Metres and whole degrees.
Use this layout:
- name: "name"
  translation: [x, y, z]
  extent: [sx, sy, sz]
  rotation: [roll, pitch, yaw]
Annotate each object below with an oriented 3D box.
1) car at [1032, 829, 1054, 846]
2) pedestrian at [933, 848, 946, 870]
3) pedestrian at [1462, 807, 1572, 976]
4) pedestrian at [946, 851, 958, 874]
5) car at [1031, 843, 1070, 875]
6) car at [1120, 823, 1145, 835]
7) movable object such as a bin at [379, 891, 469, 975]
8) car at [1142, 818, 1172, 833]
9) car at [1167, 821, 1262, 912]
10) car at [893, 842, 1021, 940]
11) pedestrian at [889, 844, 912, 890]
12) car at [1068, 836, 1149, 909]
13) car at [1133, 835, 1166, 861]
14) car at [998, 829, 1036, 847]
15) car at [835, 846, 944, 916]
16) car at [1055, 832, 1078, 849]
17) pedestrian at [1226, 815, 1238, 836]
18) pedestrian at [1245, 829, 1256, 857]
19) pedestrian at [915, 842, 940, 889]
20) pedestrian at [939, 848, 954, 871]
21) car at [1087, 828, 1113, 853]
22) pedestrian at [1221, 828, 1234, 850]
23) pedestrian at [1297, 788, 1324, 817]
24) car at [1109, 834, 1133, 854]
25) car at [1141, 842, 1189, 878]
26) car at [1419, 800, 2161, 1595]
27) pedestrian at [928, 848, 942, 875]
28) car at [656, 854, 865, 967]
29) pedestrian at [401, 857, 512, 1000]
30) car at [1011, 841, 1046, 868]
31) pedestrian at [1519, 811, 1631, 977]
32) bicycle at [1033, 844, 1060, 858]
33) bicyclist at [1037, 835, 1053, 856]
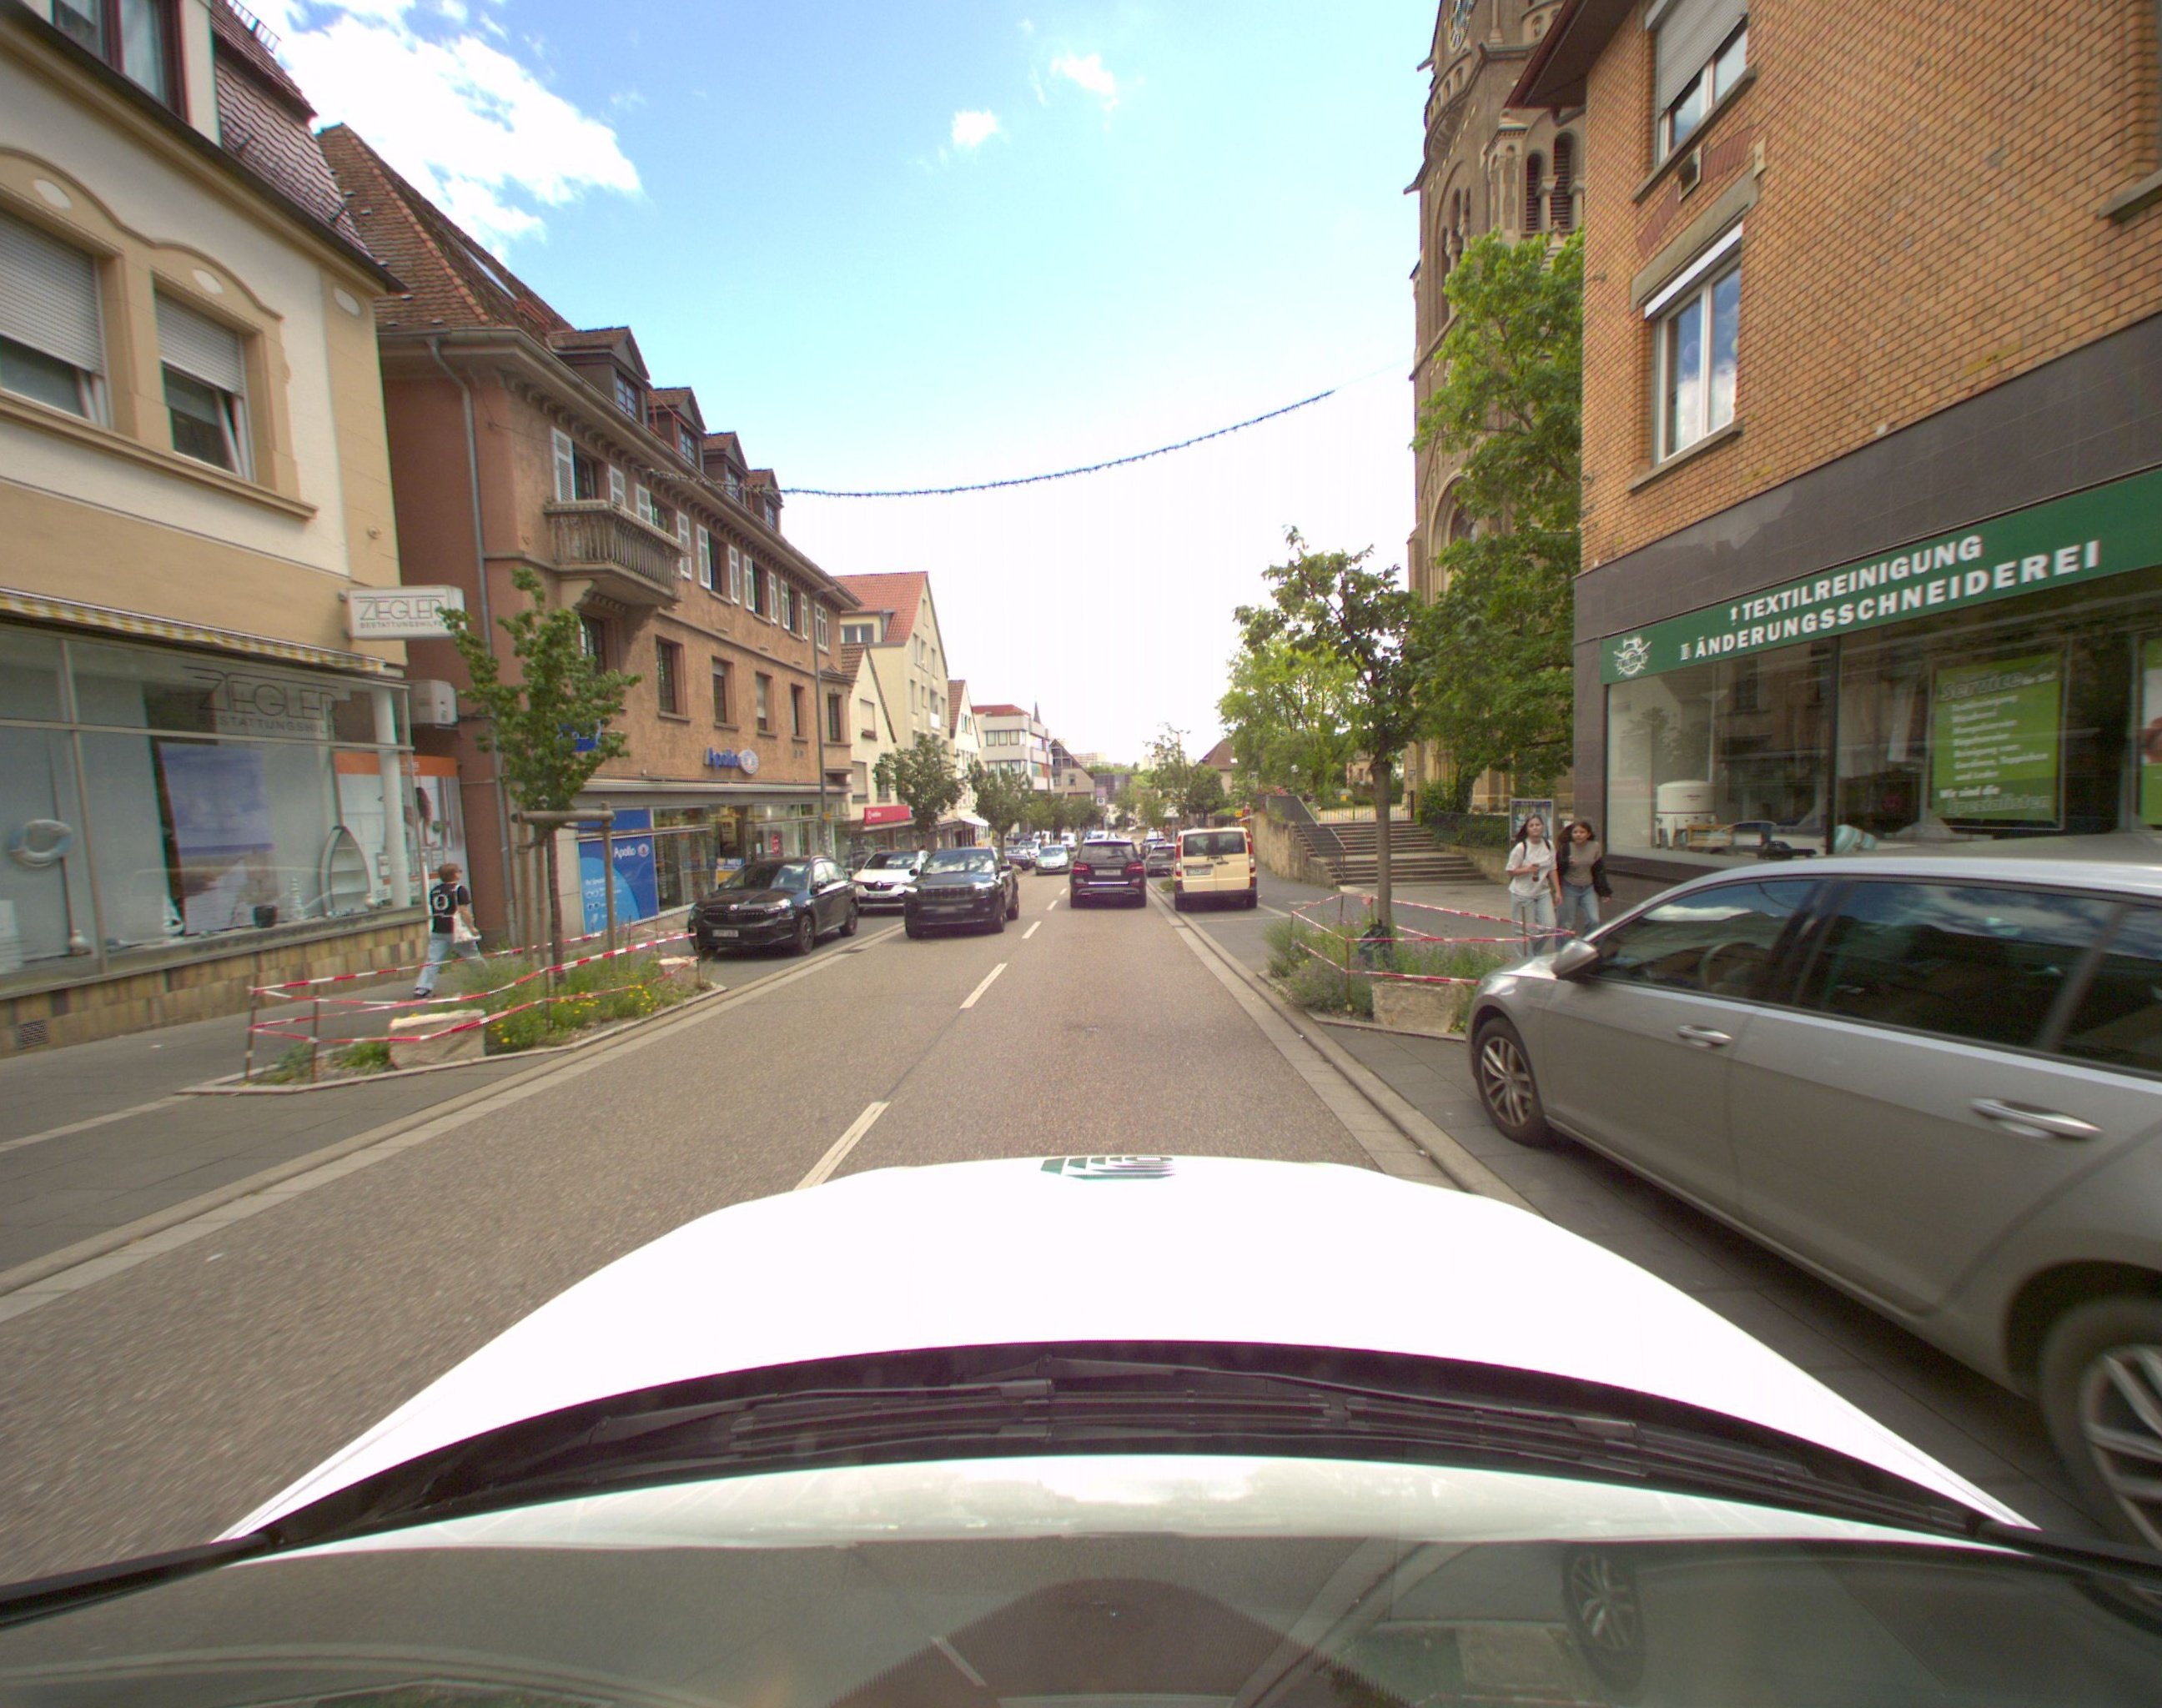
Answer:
- name: "car"
  translation: [-3.798, -1.655, 81.879]
  extent: [1.920, 1.628, 4.415]
  rotation: [0, 1, 0]
- name: "pedestrian"
  translation: [-8.346, 0.312, 47.994]
  extent: [0.563, 1.281, 0.759]
  rotation: [-1, 0, 1]
- name: "pedestrian"
  translation: [4.467, 0.367, 8.384]
  extent: [0.670, 1.632, 0.669]
  rotation: [-4, 0, -1]
- name: "pedestrian"
  translation: [-7.602, 0.501, 47.970]
  extent: [0.563, 1.281, 0.759]
  rotation: [-1, 0, 1]
- name: "car"
  translation: [-1.563, 0.223, 43.171]
  extent: [1.806, 1.508, 4.001]
  rotation: [-2, 1, 1]
- name: "car"
  translation: [9.068, -4.428, 144.217]
  extent: [4.076, 2.013, 1.991]
  rotation: [0, 1, -14]
- name: "movable object such as a bin"
  translation: [-9.248, 1.100, 11.487]
  extent: [0.738, 1.084, 0.547]
  rotation: [-4, 0, 0]
- name: "car"
  translation: [11.574, -4.308, 124.501]
  extent: [4.143, 2.029, 1.799]
  rotation: [-2, 0, 35]
- name: "car"
  translation: [3.172, 0.215, 20.200]
  extent: [1.928, 1.891, 4.715]
  rotation: [-4, 1, 6]
- name: "car"
  translation: [-2.308, 0.621, 16.186]
  extent: [1.758, 1.617, 4.034]
  rotation: [-3, 0, 1]
- name: "pedestrian"
  translation: [-6.634, 0.464, 30.000]
  extent: [0.639, 1.667, 0.720]
  rotation: [-1, 0, 1]
- name: "car"
  translation: [0.742, 0.405, 21.644]
  extent: [1.936, 1.739, 4.181]
  rotation: [0, 1, 2]
- name: "car"
  translation: [4.573, -0.436, 54.855]
  extent: [1.930, 1.544, 4.710]
  rotation: [-2, 1, 2]
- name: "car"
  translation: [-7.008, -1.751, 89.464]
  extent: [3.977, 1.749, 1.998]
  rotation: [-4, 0, -2]
- name: "car"
  translation: [-4.934, 0.616, 21.609]
  extent: [1.921, 1.595, 4.456]
  rotation: [0, 1, -1]
- name: "car"
  translation: [-1.382, -1.321, 78.857]
  extent: [1.919, 1.628, 4.265]
  rotation: [0, 1, 2]
- name: "pedestrian"
  translation: [16.505, -3.129, 88.856]
  extent: [1.003, 2.151, 1.073]
  rotation: [-4, 0, 20]
- name: "pedestrian"
  translation: [10.021, -0.648, 48.257]
  extent: [0.565, 1.586, 0.668]
  rotation: [-2, 0, 10]
- name: "pedestrian"
  translation: [-5.551, 0.409, 29.436]
  extent: [0.724, 1.667, 0.720]
  rotation: [-1, 0, 1]
- name: "pedestrian"
  translation: [-7.685, 0.321, 46.635]
  extent: [0.684, 1.281, 0.676]
  rotation: [-2, 0, 1]
- name: "car"
  translation: [1.885, -1.287, 79.422]
  extent: [2.163, 2.364, 4.630]
  rotation: [-1, 1, 6]
- name: "pedestrian"
  translation: [13.643, -1.379, 75.811]
  extent: [1.044, 1.912, 0.939]
  rotation: [-4, 0, 9]
- name: "pedestrian"
  translation: [10.219, -2.276, 36.285]
  extent: [0.986, 1.231, 0.985]
  rotation: [-2, 0, 3]
- name: "car"
  translation: [3.365, -0.909, 68.896]
  extent: [1.919, 1.628, 4.265]
  rotation: [0, 1, 2]
- name: "car"
  translation: [3.863, 0.224, 38.075]
  extent: [1.930, 1.456, 4.710]
  rotation: [-2, 1, 2]
- name: "car"
  translation: [2.903, 0.609, 2.824]
  extent: [1.742, 1.465, 4.075]
  rotation: [-4, 0, 1]
- name: "pedestrian"
  translation: [-8.352, 0.427, 46.668]
  extent: [0.571, 1.534, 0.676]
  rotation: [-2, 0, 1]
- name: "car"
  translation: [-5.277, 0.830, 14.125]
  extent: [1.921, 1.496, 4.260]
  rotation: [-2, 1, -1]
- name: "pedestrian"
  translation: [-7.357, 0.847, 9.633]
  extent: [0.545, 1.575, 0.863]
  rotation: [-3, 1, 1]
- name: "car"
  translation: [-3.462, -0.004, 54.604]
  extent: [1.919, 1.628, 4.265]
  rotation: [-1, 1, 2]
- name: "pedestrian"
  translation: [5.158, 0.400, 8.544]
  extent: [0.670, 1.632, 0.669]
  rotation: [-4, 0, -1]
- name: "bicycle"
  translation: [-2.757, -0.241, 65.440]
  extent: [1.966, 1.057, 0.706]
  rotation: [-4, 1, -26]
- name: "bicyclist"
  translation: [-2.862, -0.684, 65.390]
  extent: [0.967, 1.609, 0.724]
  rotation: [-4, 0, -25]
